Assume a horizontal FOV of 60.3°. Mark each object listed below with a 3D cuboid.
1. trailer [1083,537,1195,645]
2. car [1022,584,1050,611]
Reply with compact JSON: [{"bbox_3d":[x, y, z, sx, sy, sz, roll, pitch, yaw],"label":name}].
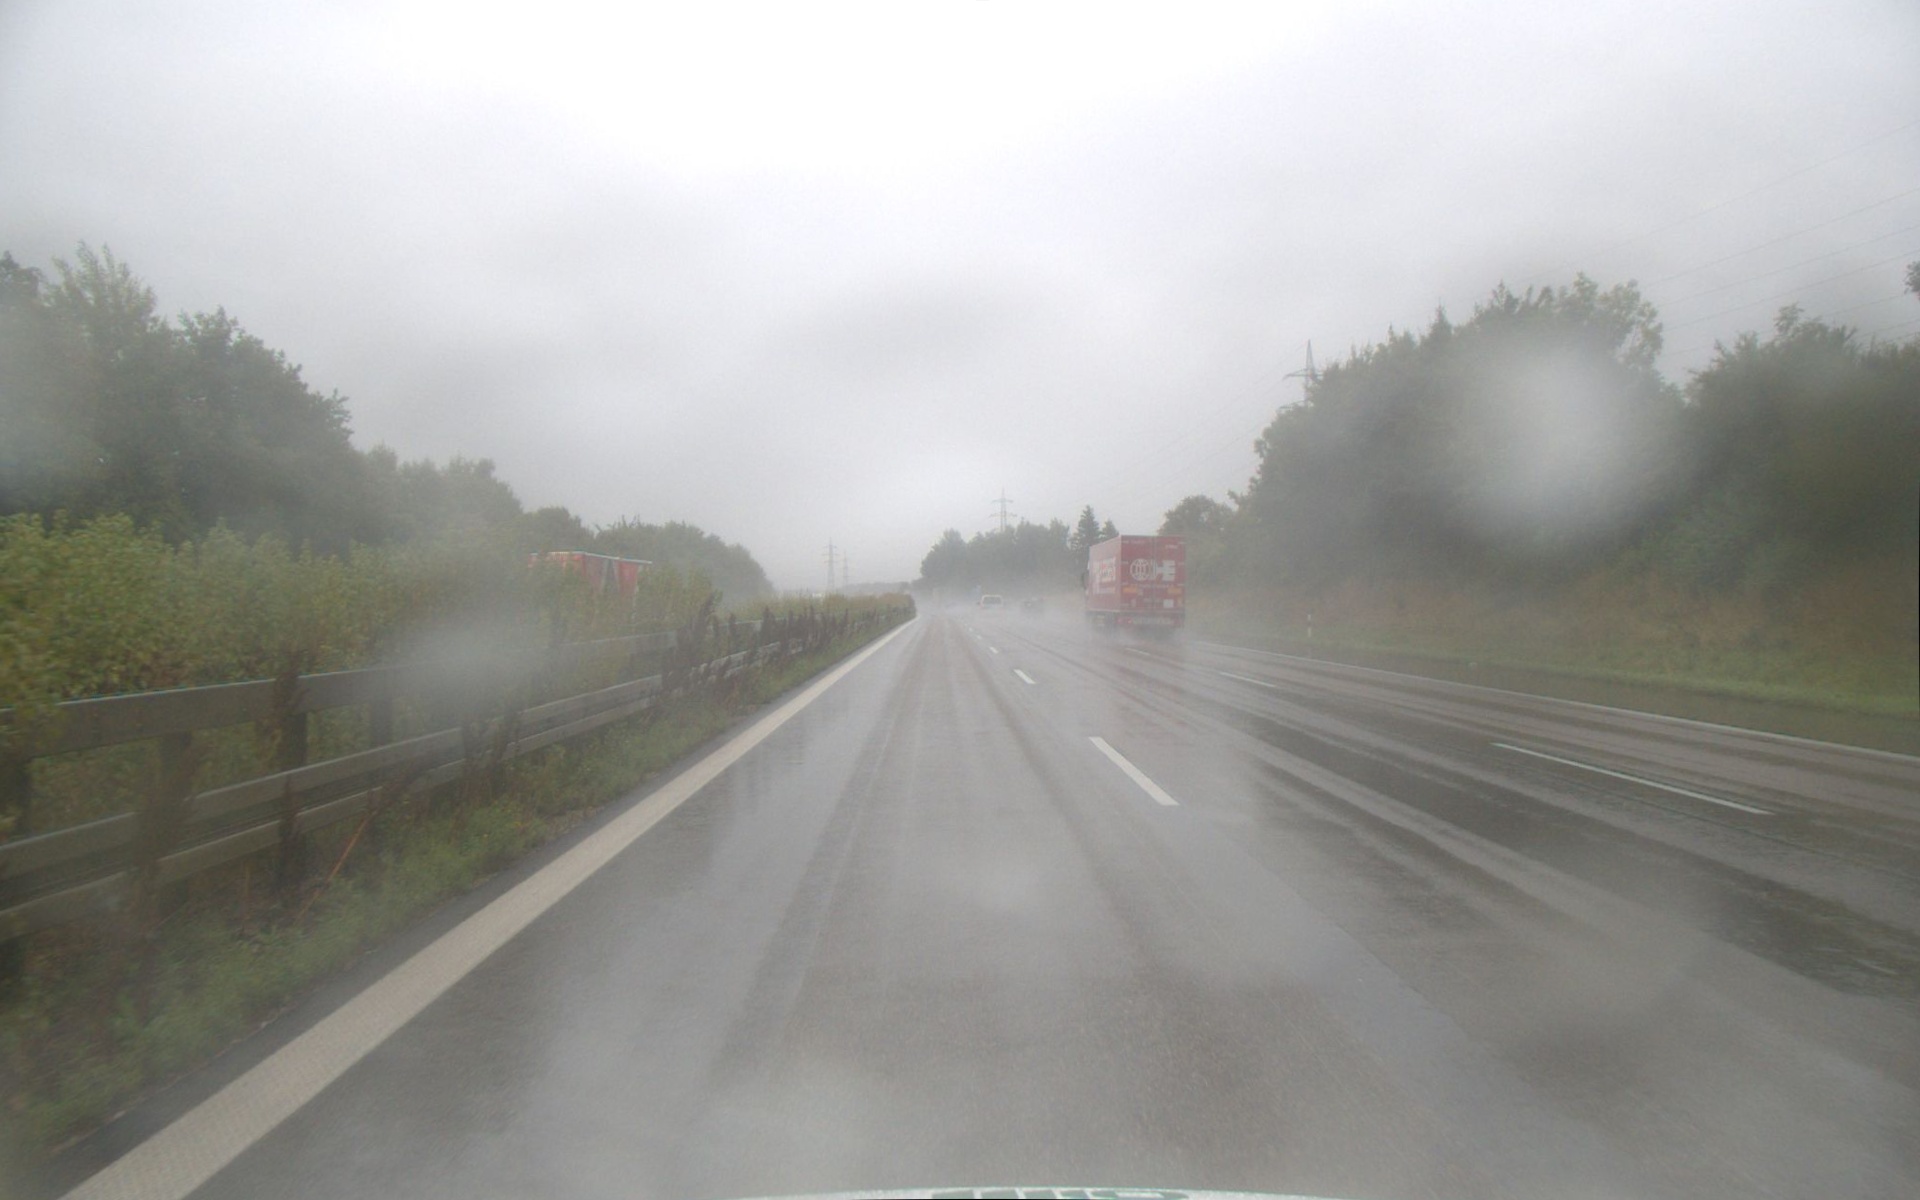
[{"bbox_3d":[7.448,-0.327,70.904,2.568,4.024,13.622,-3,0,-3],"label":"trailer"},{"bbox_3d":[6.466,-0.198,141.087,1.772,2.196,3.996,-2,0,-5],"label":"car"}]
